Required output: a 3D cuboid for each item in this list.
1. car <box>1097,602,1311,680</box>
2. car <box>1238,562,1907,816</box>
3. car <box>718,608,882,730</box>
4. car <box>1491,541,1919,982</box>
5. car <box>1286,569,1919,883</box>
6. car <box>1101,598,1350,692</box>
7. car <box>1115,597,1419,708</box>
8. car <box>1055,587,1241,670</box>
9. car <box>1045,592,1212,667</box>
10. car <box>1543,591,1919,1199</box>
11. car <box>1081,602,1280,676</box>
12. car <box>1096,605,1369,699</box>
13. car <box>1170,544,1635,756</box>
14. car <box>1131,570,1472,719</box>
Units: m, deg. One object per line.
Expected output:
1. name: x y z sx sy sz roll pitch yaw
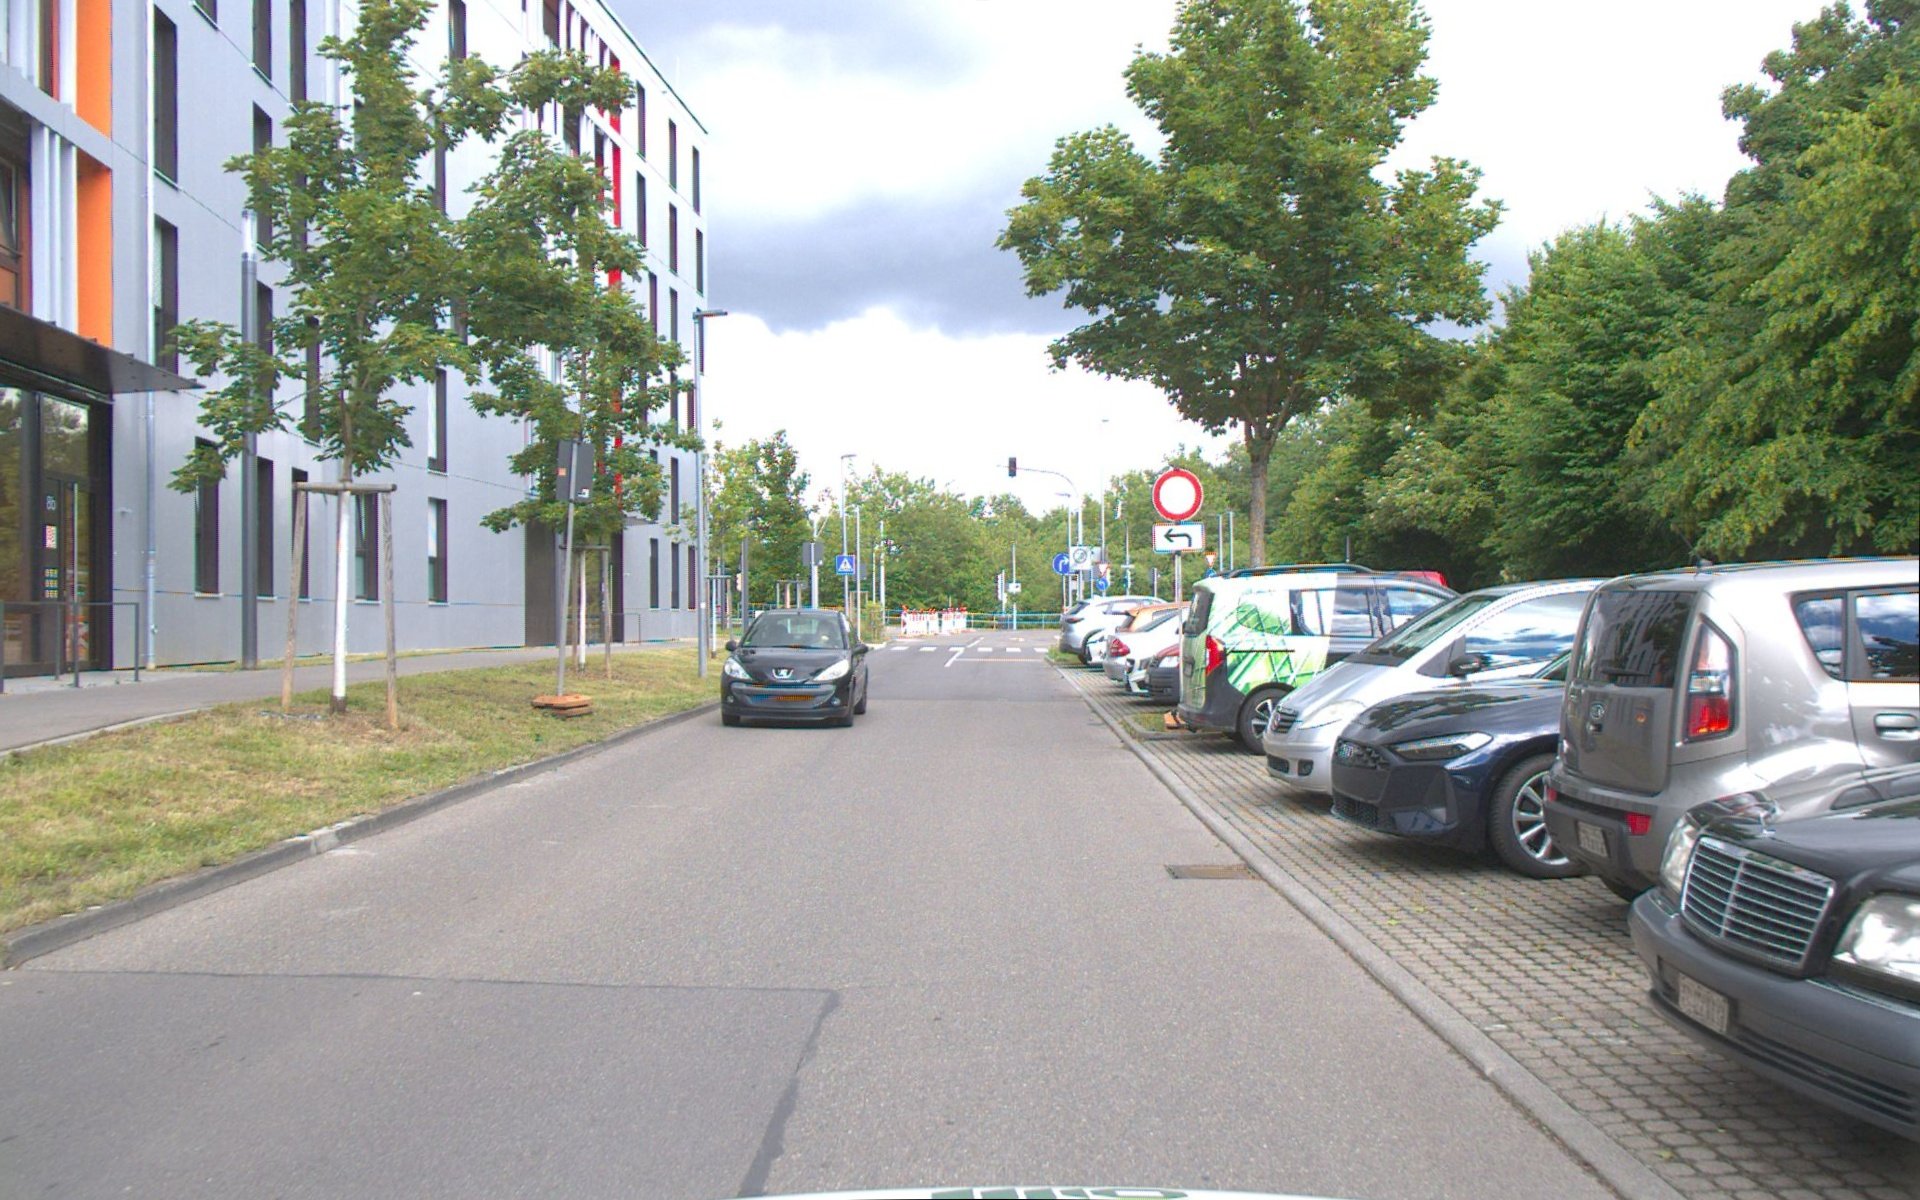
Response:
1. car: 5.182 0.854 35.493 4.290 1.610 1.916 0 0 -1
2. car: 4.433 0.614 12.465 4.290 1.604 1.916 -2 0 -1
3. car: -1.981 0.825 21.524 1.575 1.412 4.001 1 0 2
4. car: 4.651 0.559 7.268 3.983 1.637 1.891 -2 0 -1
5. car: 4.511 0.626 9.837 4.632 1.525 2.110 -2 0 -4
6. car: 4.843 0.805 30.597 4.290 1.646 1.916 0 0 -1
7. car: 4.604 0.788 25.248 4.290 1.601 1.916 0 -1 -1
8. car: 4.519 0.670 40.276 4.290 1.937 1.916 0 0 -1
9. car: 4.518 0.779 44.691 4.290 1.937 1.916 0 0 -1
10. car: 4.298 0.660 4.563 4.627 1.459 2.057 -2 0 0
11. car: 4.989 0.869 37.908 4.290 1.610 1.916 0 0 -1
12. car: 4.545 0.856 28.037 4.290 1.501 1.916 0 0 -1
13. car: 4.493 0.493 17.288 4.290 1.937 1.916 -2 0 -1
14. car: 4.625 0.592 22.851 4.290 1.937 1.936 0 0 -1
